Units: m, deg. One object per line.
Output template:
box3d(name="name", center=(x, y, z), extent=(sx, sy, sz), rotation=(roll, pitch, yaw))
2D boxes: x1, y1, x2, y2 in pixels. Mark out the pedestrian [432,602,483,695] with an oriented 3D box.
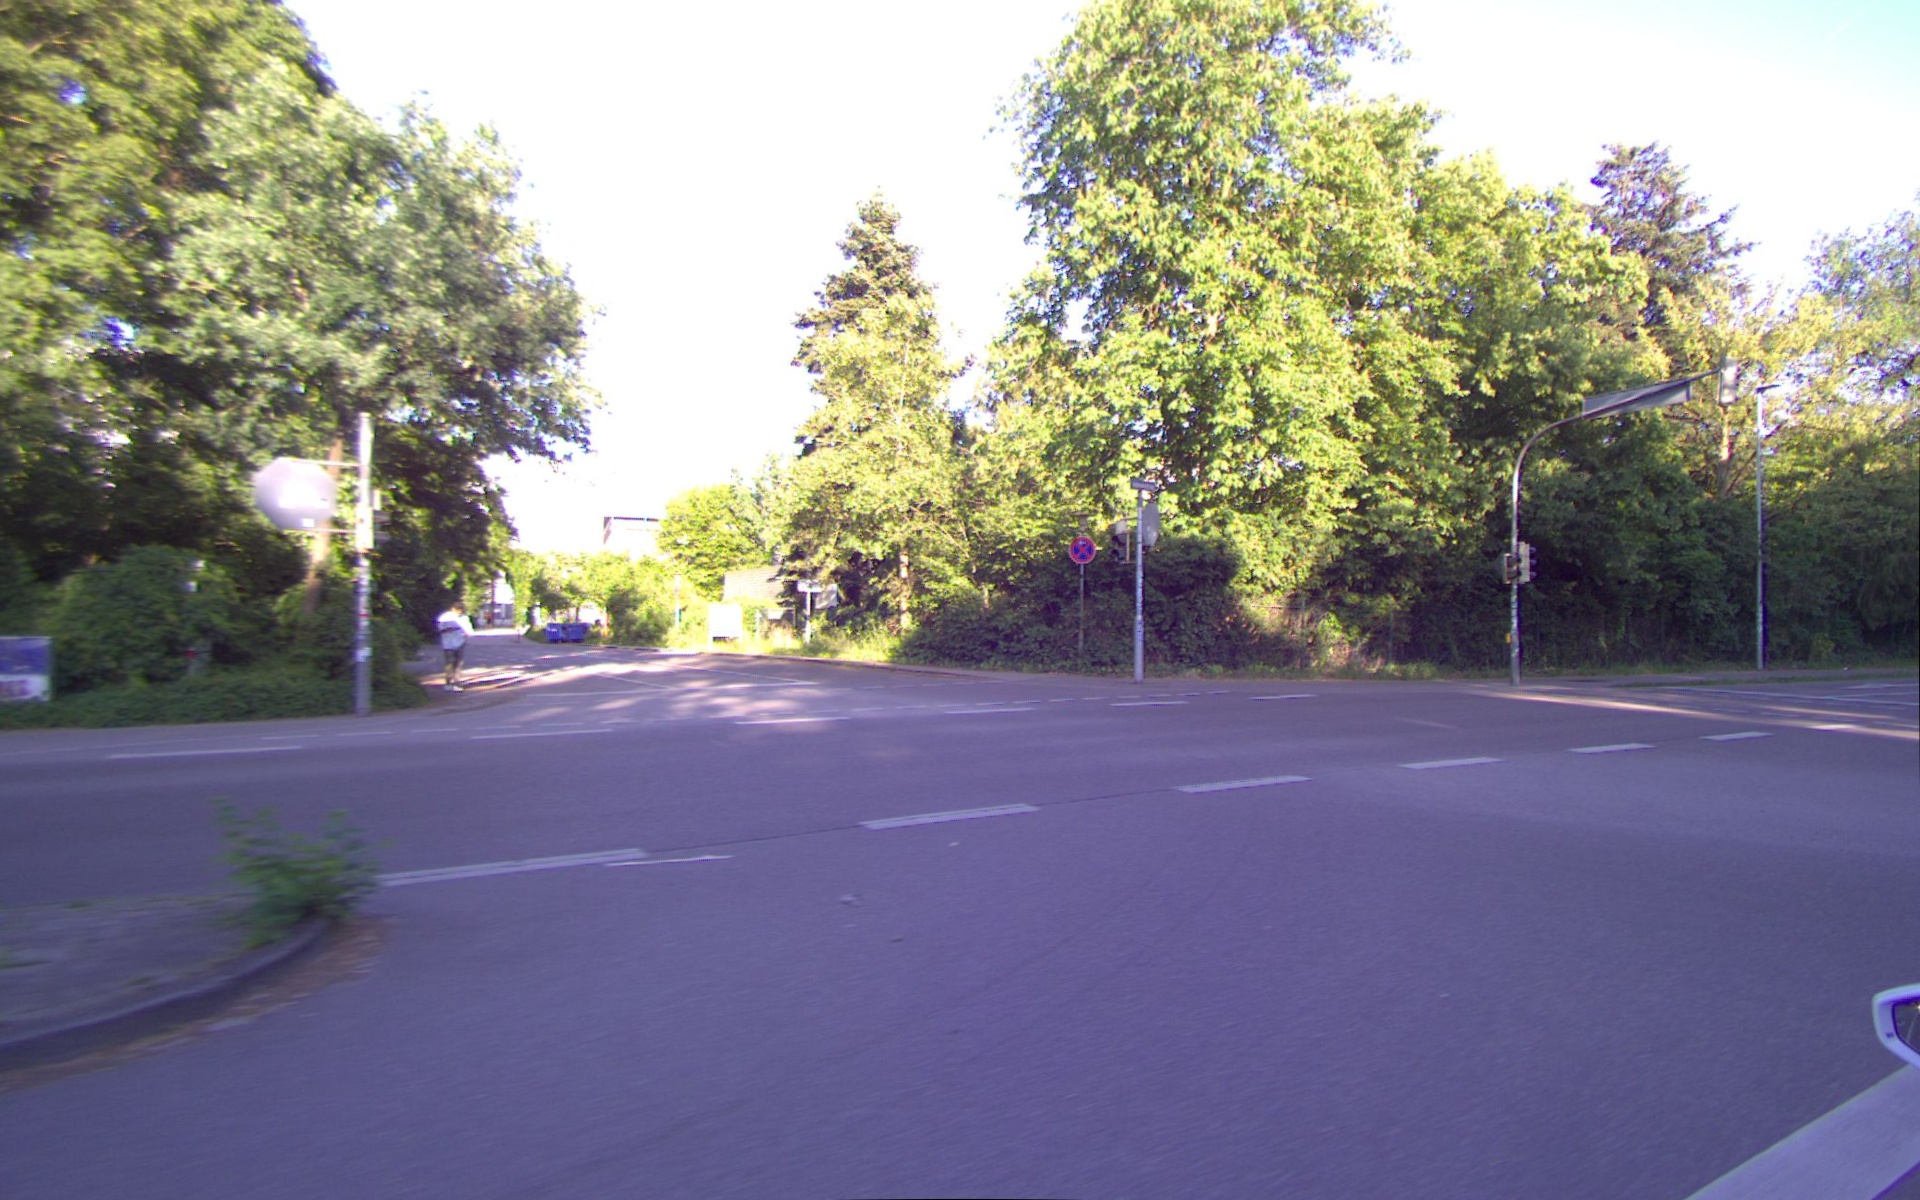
box3d(name="pedestrian", center=(-9.642, 0.911, 19.264), extent=(0.810, 1.734, 0.644), rotation=(1, -1, -31))
